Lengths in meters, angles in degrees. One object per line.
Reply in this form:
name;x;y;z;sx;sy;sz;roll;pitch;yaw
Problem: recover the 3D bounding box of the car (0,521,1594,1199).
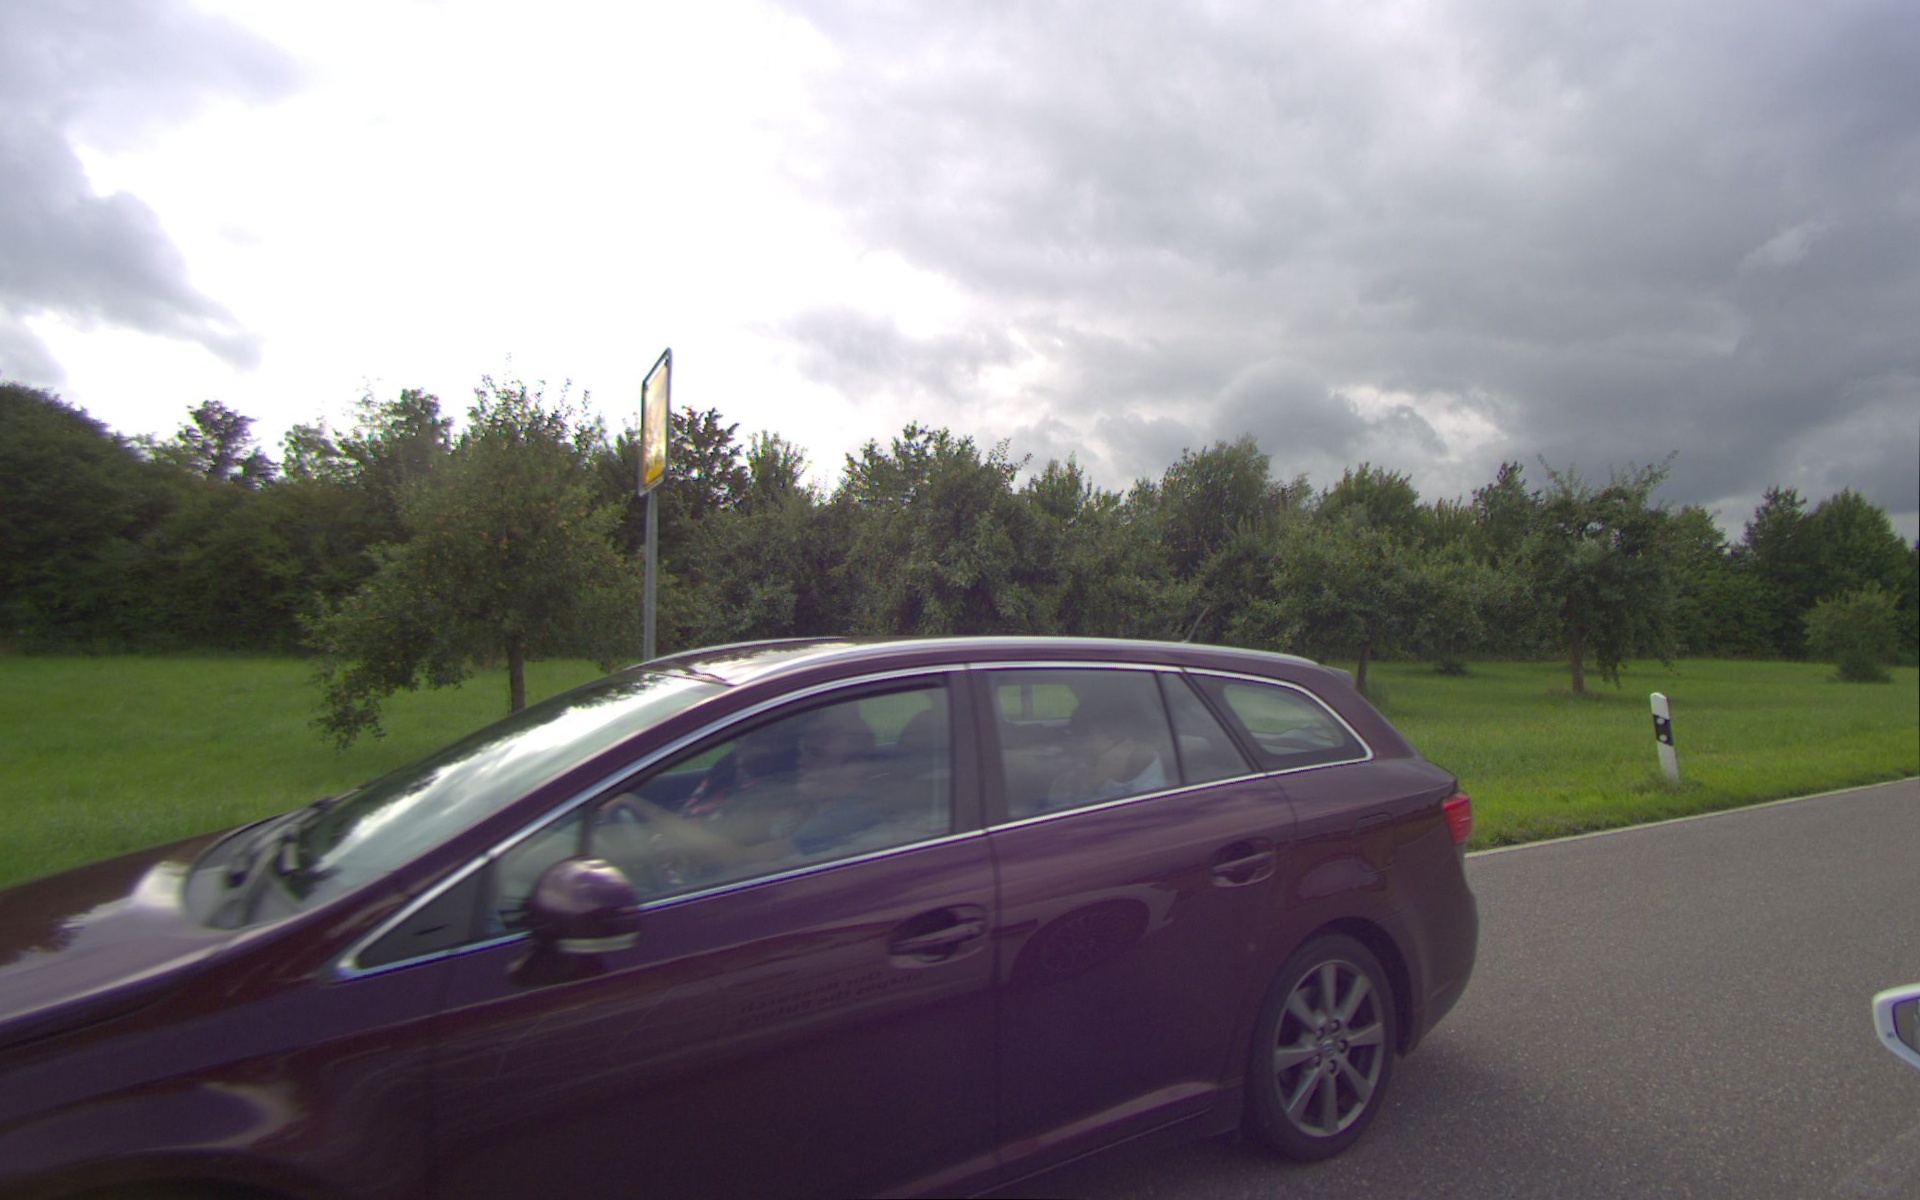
car;-0.239;0.750;2.926;4.133;1.572;1.855;1;-2;-31
